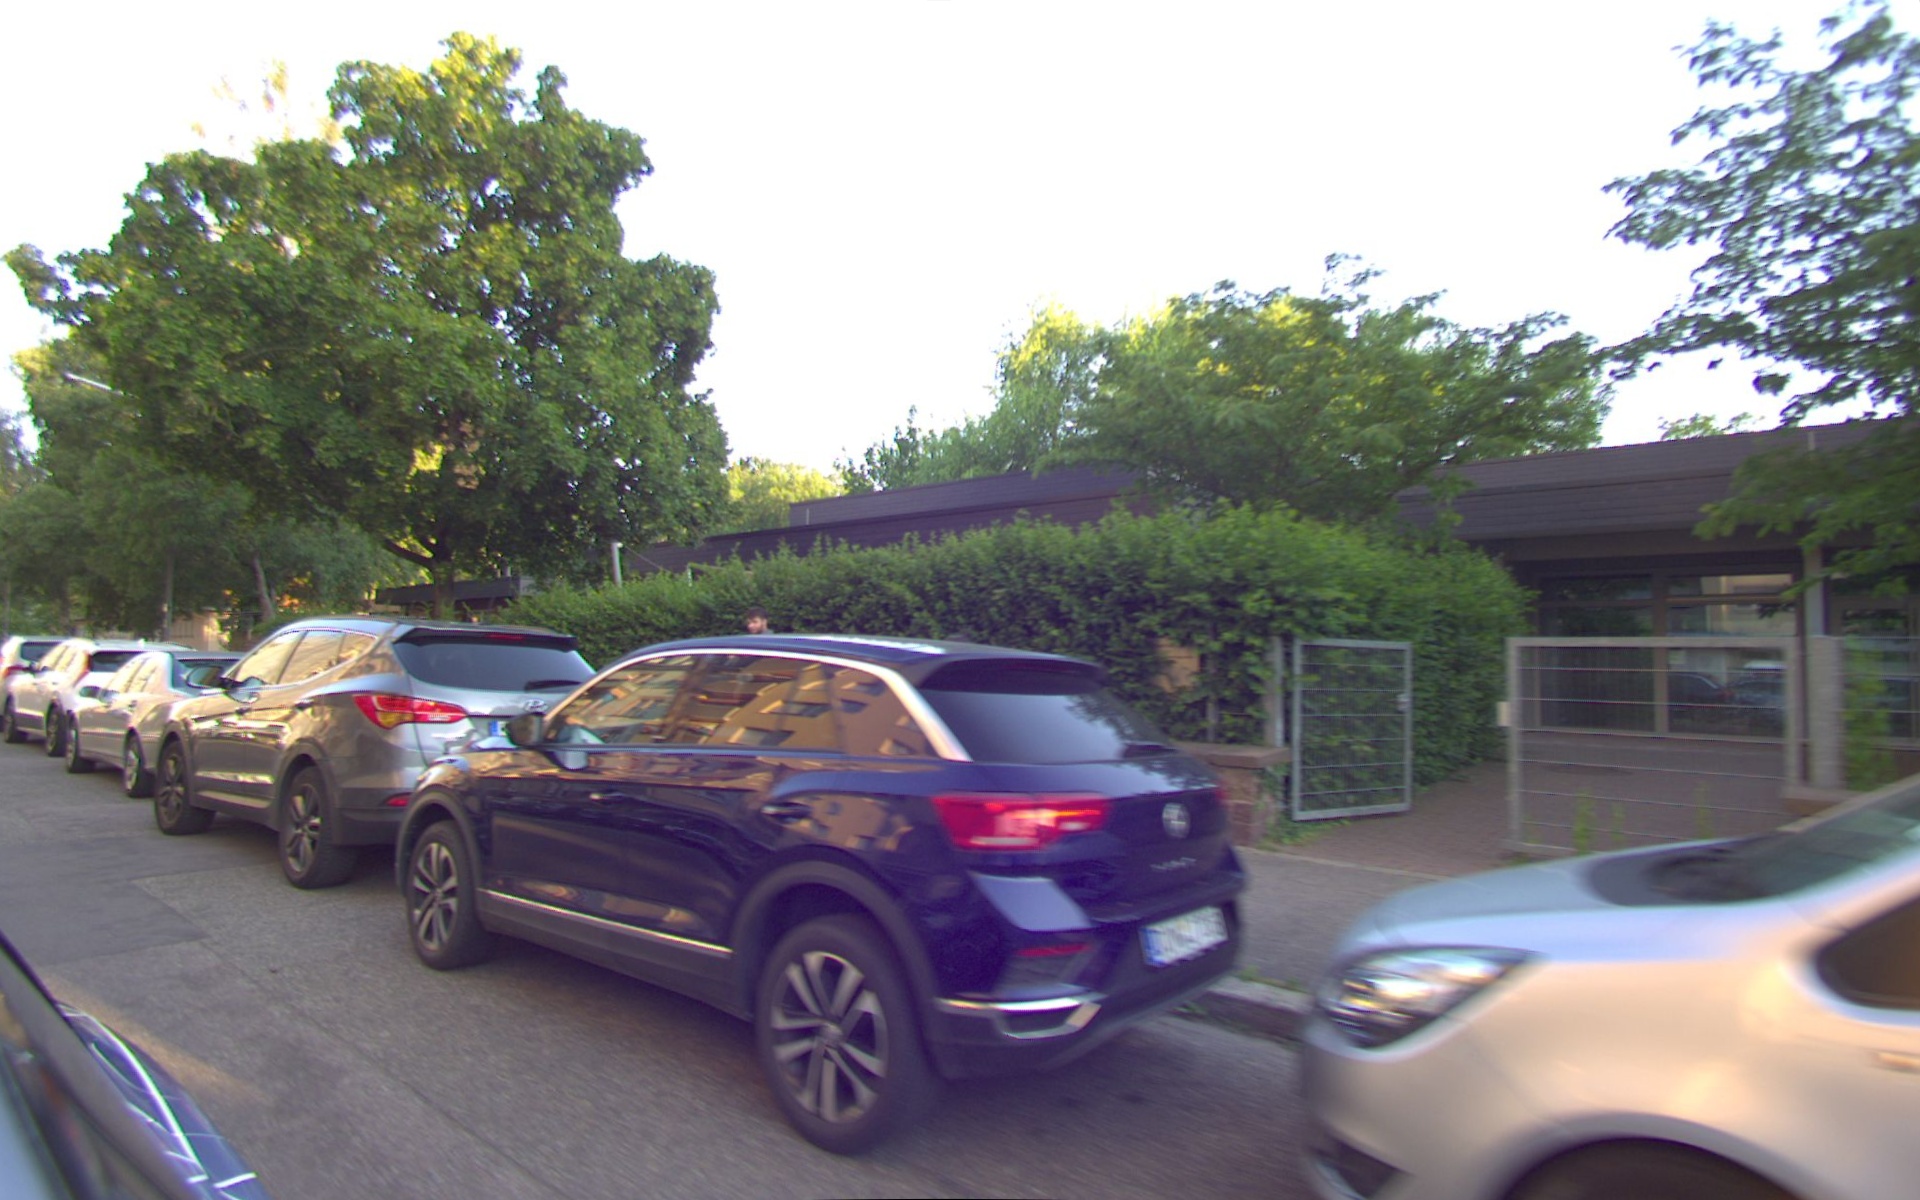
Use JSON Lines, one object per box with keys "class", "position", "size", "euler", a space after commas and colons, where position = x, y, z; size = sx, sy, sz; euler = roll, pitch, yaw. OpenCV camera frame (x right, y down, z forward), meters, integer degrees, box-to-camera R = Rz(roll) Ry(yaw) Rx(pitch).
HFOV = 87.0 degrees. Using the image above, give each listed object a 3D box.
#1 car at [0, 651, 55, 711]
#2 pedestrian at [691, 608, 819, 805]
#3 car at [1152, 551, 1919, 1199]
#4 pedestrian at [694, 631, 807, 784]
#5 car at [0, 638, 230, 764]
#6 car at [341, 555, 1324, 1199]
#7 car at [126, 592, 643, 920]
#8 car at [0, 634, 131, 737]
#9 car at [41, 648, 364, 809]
{"class": "car", "position": [-24.376, 2.034, 25.680], "size": [3.413, 1.437, 1.603], "euler": [-3, -6, 41]}
{"class": "pedestrian", "position": [-1.944, 0.964, 9.620], "size": [0.749, 1.745, 0.890], "euler": [-2, -1, 39]}
{"class": "car", "position": [2.560, 0.752, 1.617], "size": [4.123, 1.579, 1.717], "euler": [-2, -6, 38]}
{"class": "pedestrian", "position": [-2.223, 1.102, 10.731], "size": [0.901, 1.519, 0.741], "euler": [-2, -1, 39]}
{"class": "car", "position": [-12.269, 1.377, 14.490], "size": [4.274, 1.555, 1.742], "euler": [-2, -6, 38]}
{"class": "car", "position": [-0.817, 0.810, 4.348], "size": [4.161, 1.579, 1.717], "euler": [-2, -6, 38]}
{"class": "car", "position": [-4.382, 0.960, 7.449], "size": [4.316, 1.744, 1.717], "euler": [-2, -6, 38]}
{"class": "car", "position": [-16.334, 1.486, 18.021], "size": [3.978, 1.644, 1.715], "euler": [-3, -6, 41]}
{"class": "car", "position": [-8.430, 1.288, 11.140], "size": [4.280, 1.438, 1.717], "euler": [-2, -6, 38]}
